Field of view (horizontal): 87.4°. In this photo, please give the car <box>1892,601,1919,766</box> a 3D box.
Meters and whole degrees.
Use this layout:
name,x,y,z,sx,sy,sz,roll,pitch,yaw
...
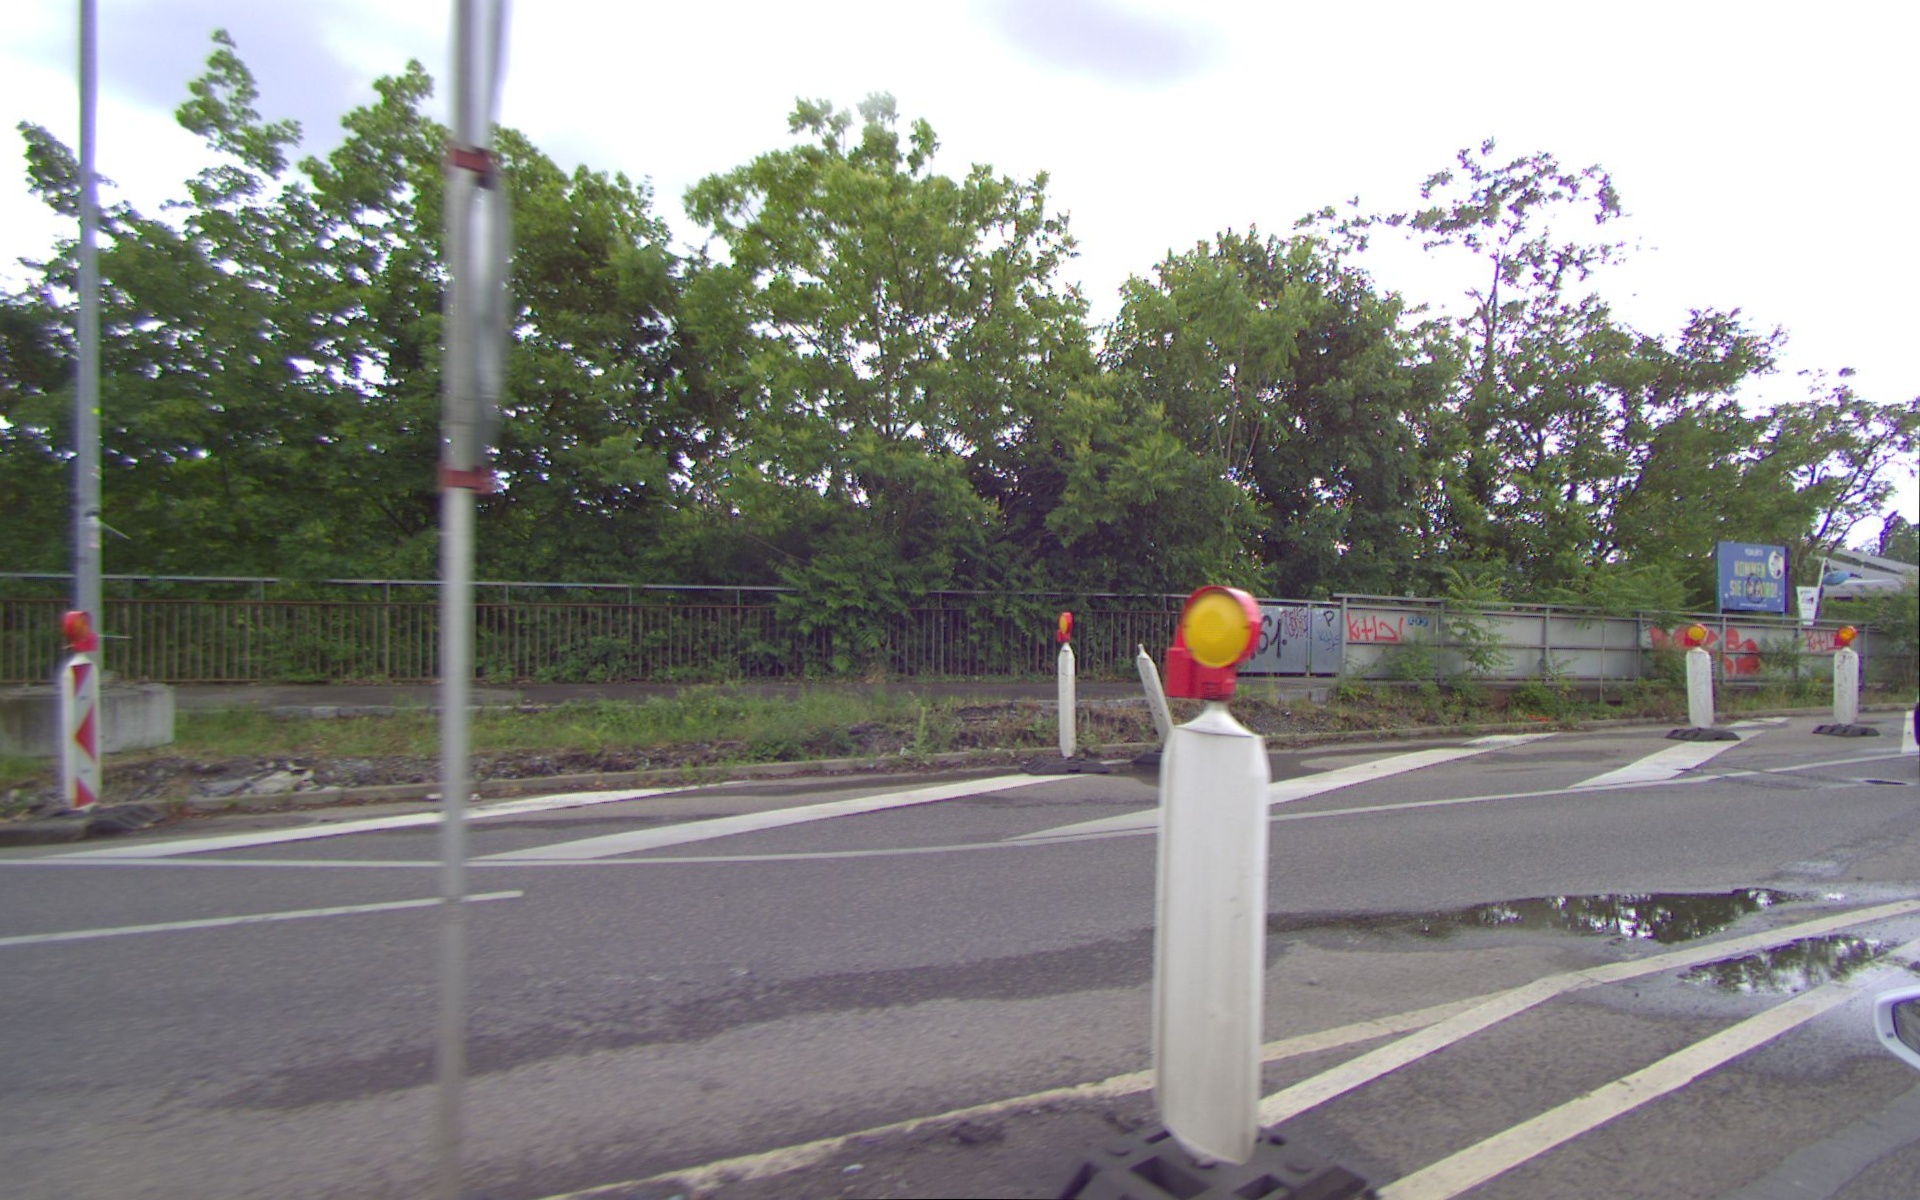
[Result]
name,x,y,z,sx,sy,sz,roll,pitch,yaw
car,12.956,0.916,11.390,4.683,1.806,1.858,0,-1,-25
